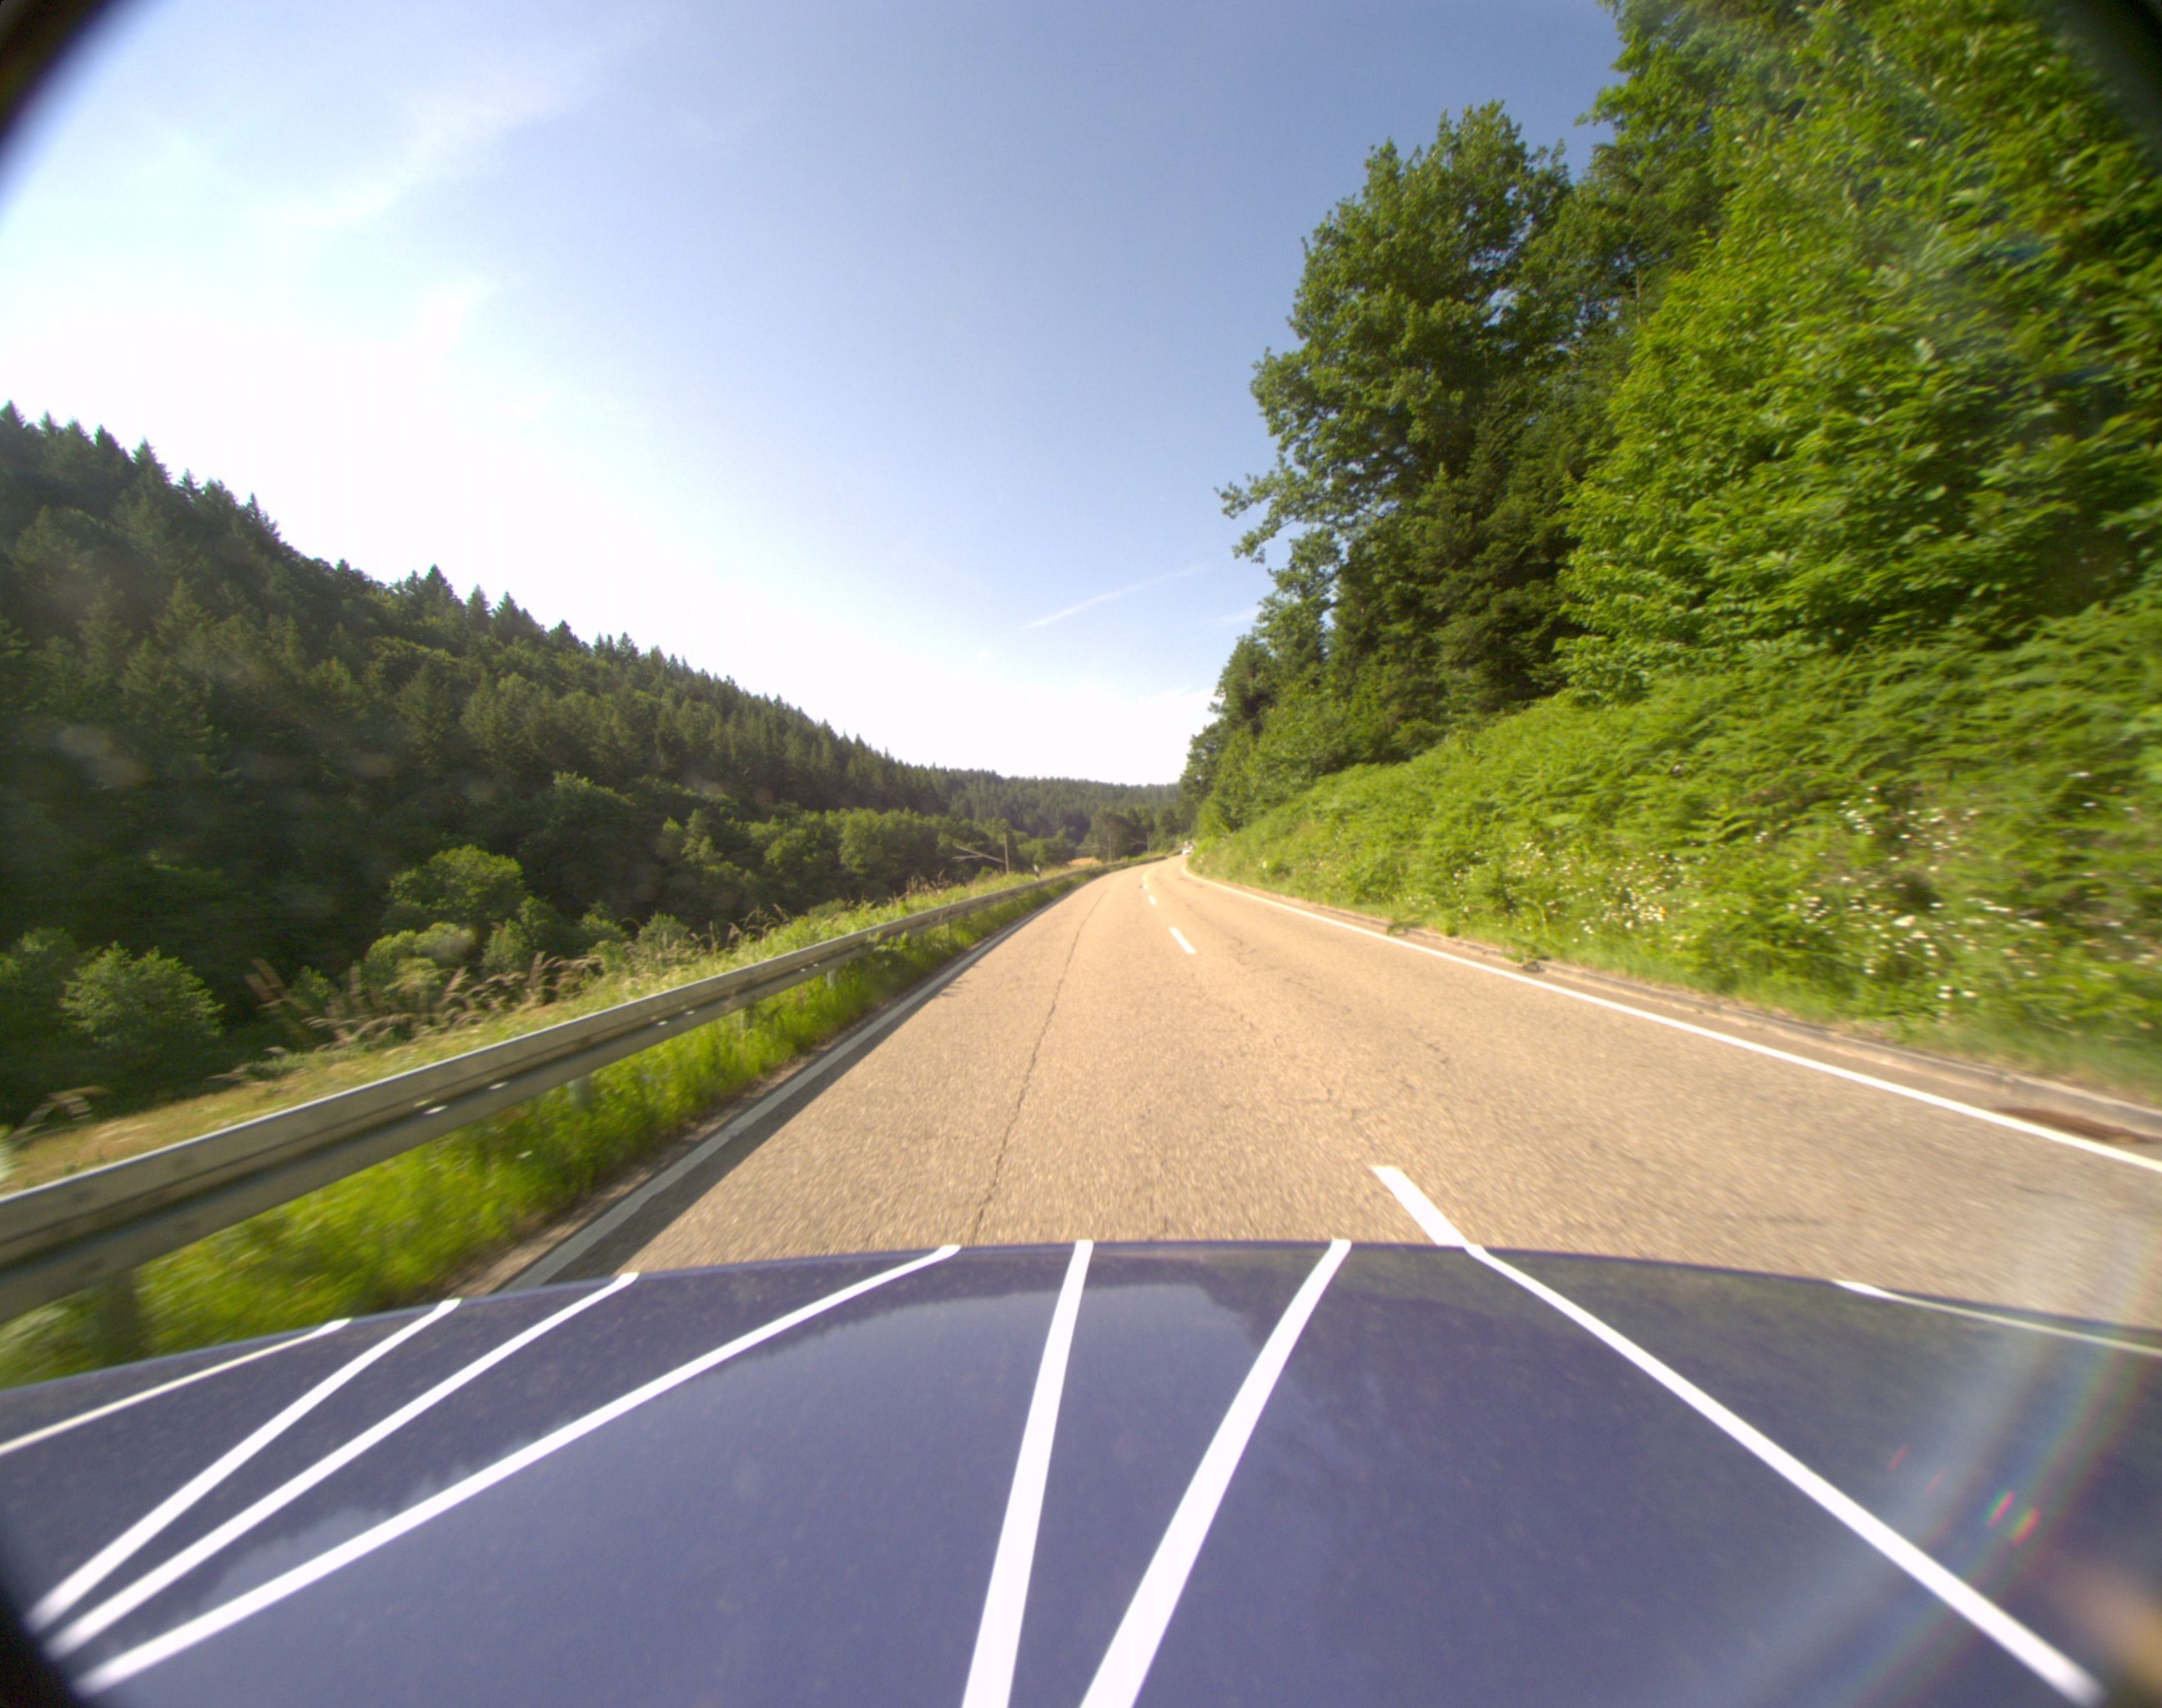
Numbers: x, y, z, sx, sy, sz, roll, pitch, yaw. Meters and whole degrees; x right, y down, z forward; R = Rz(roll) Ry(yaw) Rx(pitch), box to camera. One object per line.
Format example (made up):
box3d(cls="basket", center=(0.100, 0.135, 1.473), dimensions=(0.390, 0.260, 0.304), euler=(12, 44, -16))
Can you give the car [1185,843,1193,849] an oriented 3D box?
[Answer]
box3d(cls="car", center=(27.183, -2.033, 191.083), dimensions=(1.702, 1.543, 3.788), euler=(-4, 1, 4))
